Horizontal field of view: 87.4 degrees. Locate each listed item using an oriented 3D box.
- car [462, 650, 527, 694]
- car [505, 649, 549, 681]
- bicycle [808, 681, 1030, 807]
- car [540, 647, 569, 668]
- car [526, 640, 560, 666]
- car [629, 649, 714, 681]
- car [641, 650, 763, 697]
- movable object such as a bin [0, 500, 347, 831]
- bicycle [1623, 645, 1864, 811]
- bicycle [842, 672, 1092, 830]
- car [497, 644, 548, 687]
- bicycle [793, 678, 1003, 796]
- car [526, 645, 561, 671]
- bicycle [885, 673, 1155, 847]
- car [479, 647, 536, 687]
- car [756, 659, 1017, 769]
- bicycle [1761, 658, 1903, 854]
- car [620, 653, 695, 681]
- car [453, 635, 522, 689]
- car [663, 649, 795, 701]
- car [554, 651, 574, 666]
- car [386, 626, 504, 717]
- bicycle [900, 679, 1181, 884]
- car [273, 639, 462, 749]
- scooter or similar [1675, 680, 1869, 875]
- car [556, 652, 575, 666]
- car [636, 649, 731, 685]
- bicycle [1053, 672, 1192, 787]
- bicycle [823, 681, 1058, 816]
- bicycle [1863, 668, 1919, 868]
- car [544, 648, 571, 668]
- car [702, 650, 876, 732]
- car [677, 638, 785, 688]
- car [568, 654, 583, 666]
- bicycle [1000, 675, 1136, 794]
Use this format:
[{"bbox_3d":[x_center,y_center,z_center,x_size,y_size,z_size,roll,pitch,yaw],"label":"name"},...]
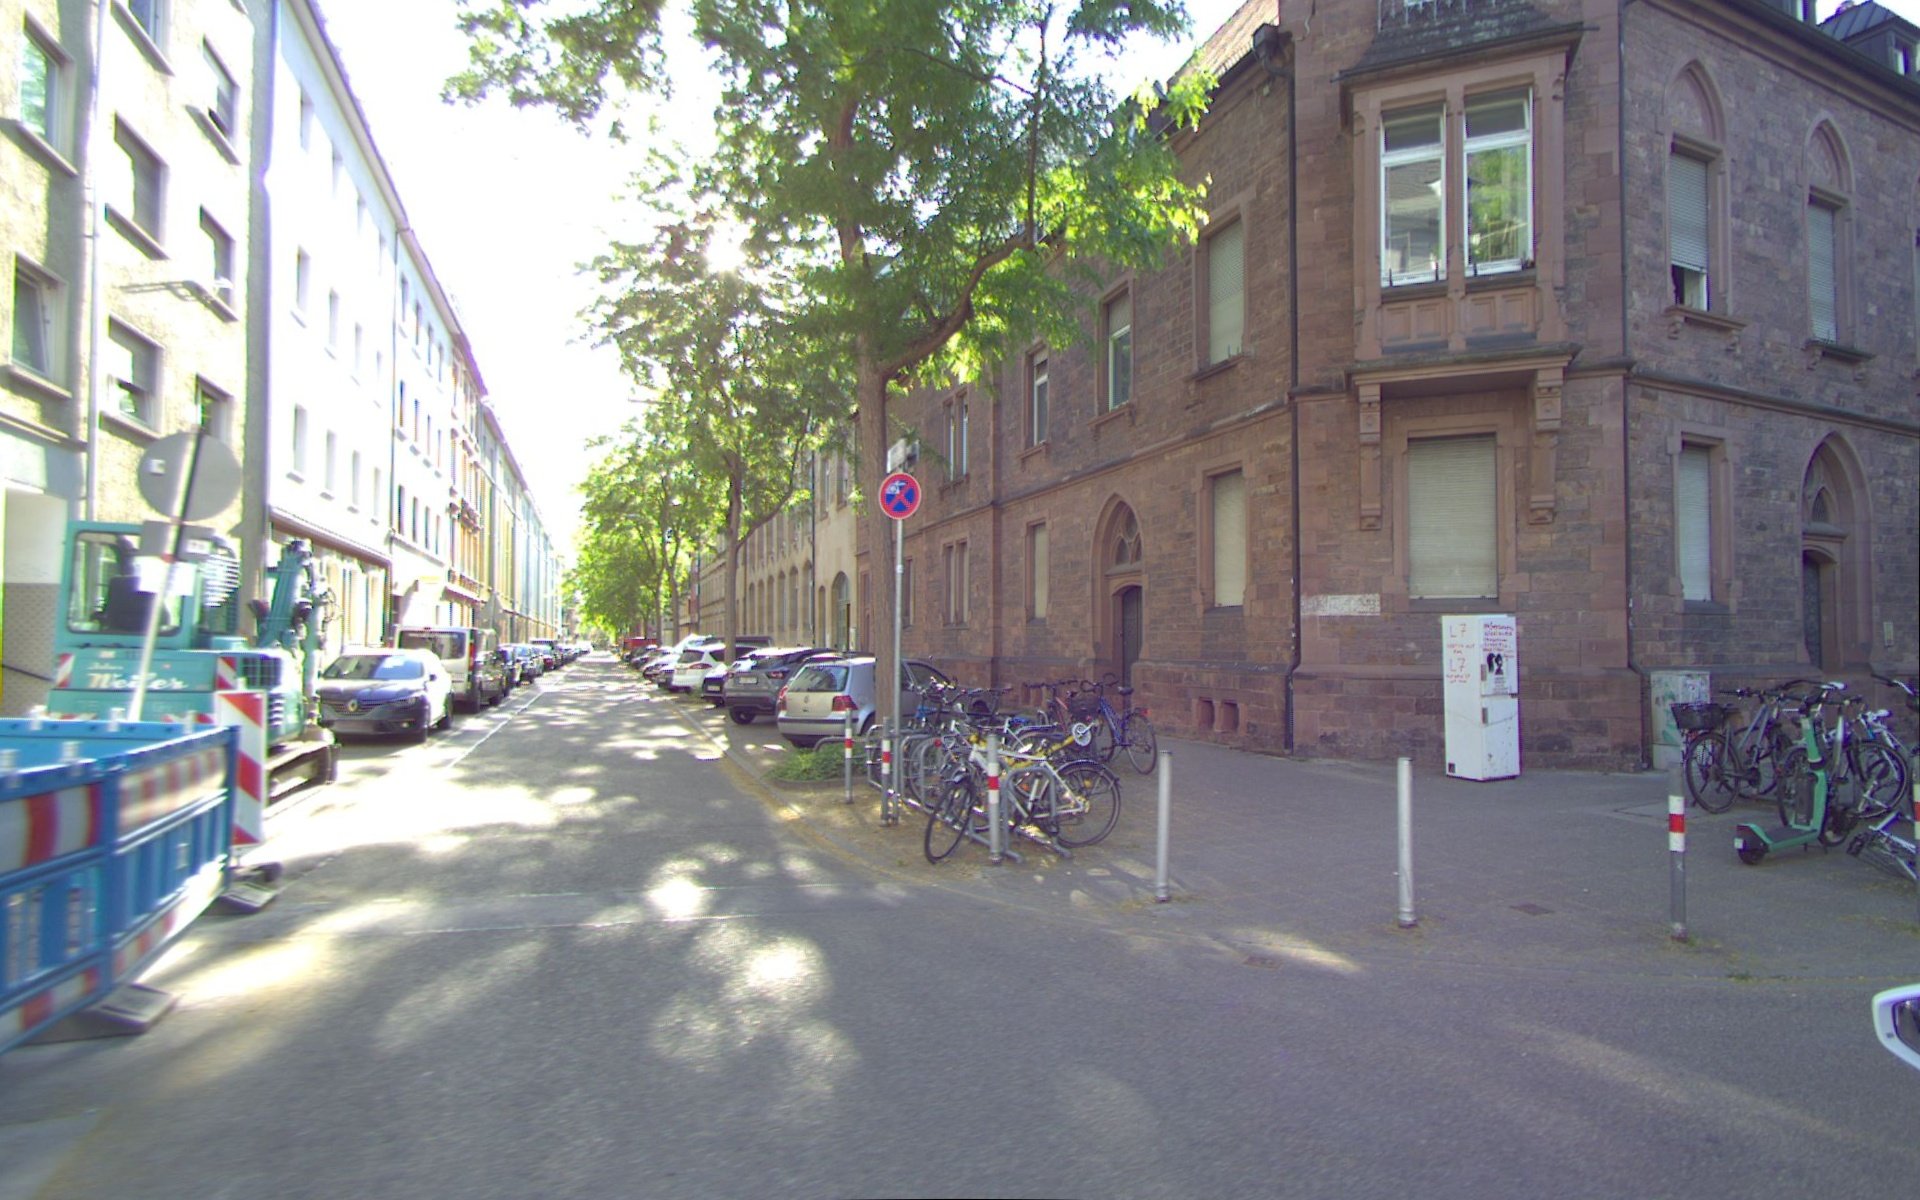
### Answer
[{"bbox_3d":[-16.953,2.573,36.712,1.772,1.511,3.983,1,-3,-20],"label":"car"},{"bbox_3d":[-21.853,3.246,50.806,1.772,1.511,3.983,1,-3,-20],"label":"car"},{"bbox_3d":[-0.440,1.570,11.305,2.411,1.195,0.681,-1,-2,-25],"label":"bicycle"},{"bbox_3d":[-29.356,4.150,72.795,1.772,1.511,3.983,1,-3,-20],"label":"car"},{"bbox_3d":[-27.306,3.471,65.873,1.772,1.644,3.983,1,-3,-20],"label":"car"},{"bbox_3d":[-15.115,3.366,52.718,1.831,1.588,3.985,-2,-3,37],"label":"car"},{"bbox_3d":[-9.213,2.591,36.148,1.831,1.588,3.985,-2,-3,37],"label":"car"},{"bbox_3d":[-7.370,0.592,9.615,2.039,2.635,2.749,1,-3,-21],"label":"movable object such as a bin"},{"bbox_3d":[7.571,1.158,9.666,2.761,1.442,0.680,1,-3,-26],"label":"bicycle"},{"bbox_3d":[0.093,1.436,9.993,2.411,1.338,0.681,-1,-2,-25],"label":"bicycle"},{"bbox_3d":[-19.903,2.942,45.804,1.808,1.823,3.984,1,-2,-19],"label":"car"},{"bbox_3d":[-0.721,1.582,11.973,2.411,1.195,0.681,-1,-2,-25],"label":"bicycle"},{"bbox_3d":[-25.377,3.531,61.272,1.772,1.511,3.983,1,-3,-20],"label":"car"},{"bbox_3d":[0.576,1.395,9.208,2.411,1.338,0.681,-1,-2,-25],"label":"bicycle"},{"bbox_3d":[-18.356,2.682,40.904,1.772,1.511,3.983,1,-3,-20],"label":"car"},{"bbox_3d":[-1.059,1.733,16.361,1.832,1.503,4.252,-2,-3,40],"label":"car"},{"bbox_3d":[7.452,1.220,8.536,2.484,1.442,0.568,2,-3,-42],"label":"bicycle"},{"bbox_3d":[-17.887,3.951,59.536,1.831,1.588,3.985,-2,-3,37],"label":"car"},{"bbox_3d":[-16.843,2.180,35.962,1.808,1.823,3.984,1,-2,-19],"label":"car"},{"bbox_3d":[-7.493,2.391,32.896,1.831,1.588,3.985,-2,-3,37],"label":"car"},{"bbox_3d":[-41.246,6.099,104.639,1.772,1.511,3.983,1,-3,-20],"label":"car"},{"bbox_3d":[-12.195,1.659,24.096,1.970,1.964,4.591,1,-3,-21],"label":"car"},{"bbox_3d":[0.648,1.342,7.867,2.113,1.338,0.681,-1,-2,-25],"label":"bicycle"},{"bbox_3d":[-9.744,1.498,16.890,1.880,1.587,4.186,3,-4,-20],"label":"car"},{"bbox_3d":[5.920,1.243,7.325,1.282,1.294,0.528,1,-3,-23],"label":"scooter or similar"},{"bbox_3d":[-44.662,6.644,113.782,1.772,1.511,3.983,1,-3,-20],"label":"car"},{"bbox_3d":[-12.916,3.090,47.093,1.831,1.588,3.985,-2,-3,37],"label":"car"},{"bbox_3d":[1.906,1.496,12.089,0.675,1.195,1.958,-1,-2,-24],"label":"bicycle"},{"bbox_3d":[-0.185,1.520,10.661,2.411,1.195,0.681,-1,-2,-25],"label":"bicycle"},{"bbox_3d":[7.681,1.228,7.810,2.484,1.362,0.677,2,-3,-42],"label":"bicycle"},{"bbox_3d":[-32.068,4.595,80.056,1.772,1.511,3.983,1,-3,-20],"label":"car"},{"bbox_3d":[-3.633,1.909,22.059,1.825,1.613,3.997,-1,-3,25],"label":"car"},{"bbox_3d":[-9.119,2.496,40.274,1.831,1.928,3.985,-2,-3,37],"label":"car"},{"bbox_3d":[-50.119,7.850,130.998,1.772,1.511,3.983,1,-3,-20],"label":"car"},{"bbox_3d":[1.217,1.514,11.790,0.675,1.195,1.957,-1,-2,-24],"label":"bicycle"}]
